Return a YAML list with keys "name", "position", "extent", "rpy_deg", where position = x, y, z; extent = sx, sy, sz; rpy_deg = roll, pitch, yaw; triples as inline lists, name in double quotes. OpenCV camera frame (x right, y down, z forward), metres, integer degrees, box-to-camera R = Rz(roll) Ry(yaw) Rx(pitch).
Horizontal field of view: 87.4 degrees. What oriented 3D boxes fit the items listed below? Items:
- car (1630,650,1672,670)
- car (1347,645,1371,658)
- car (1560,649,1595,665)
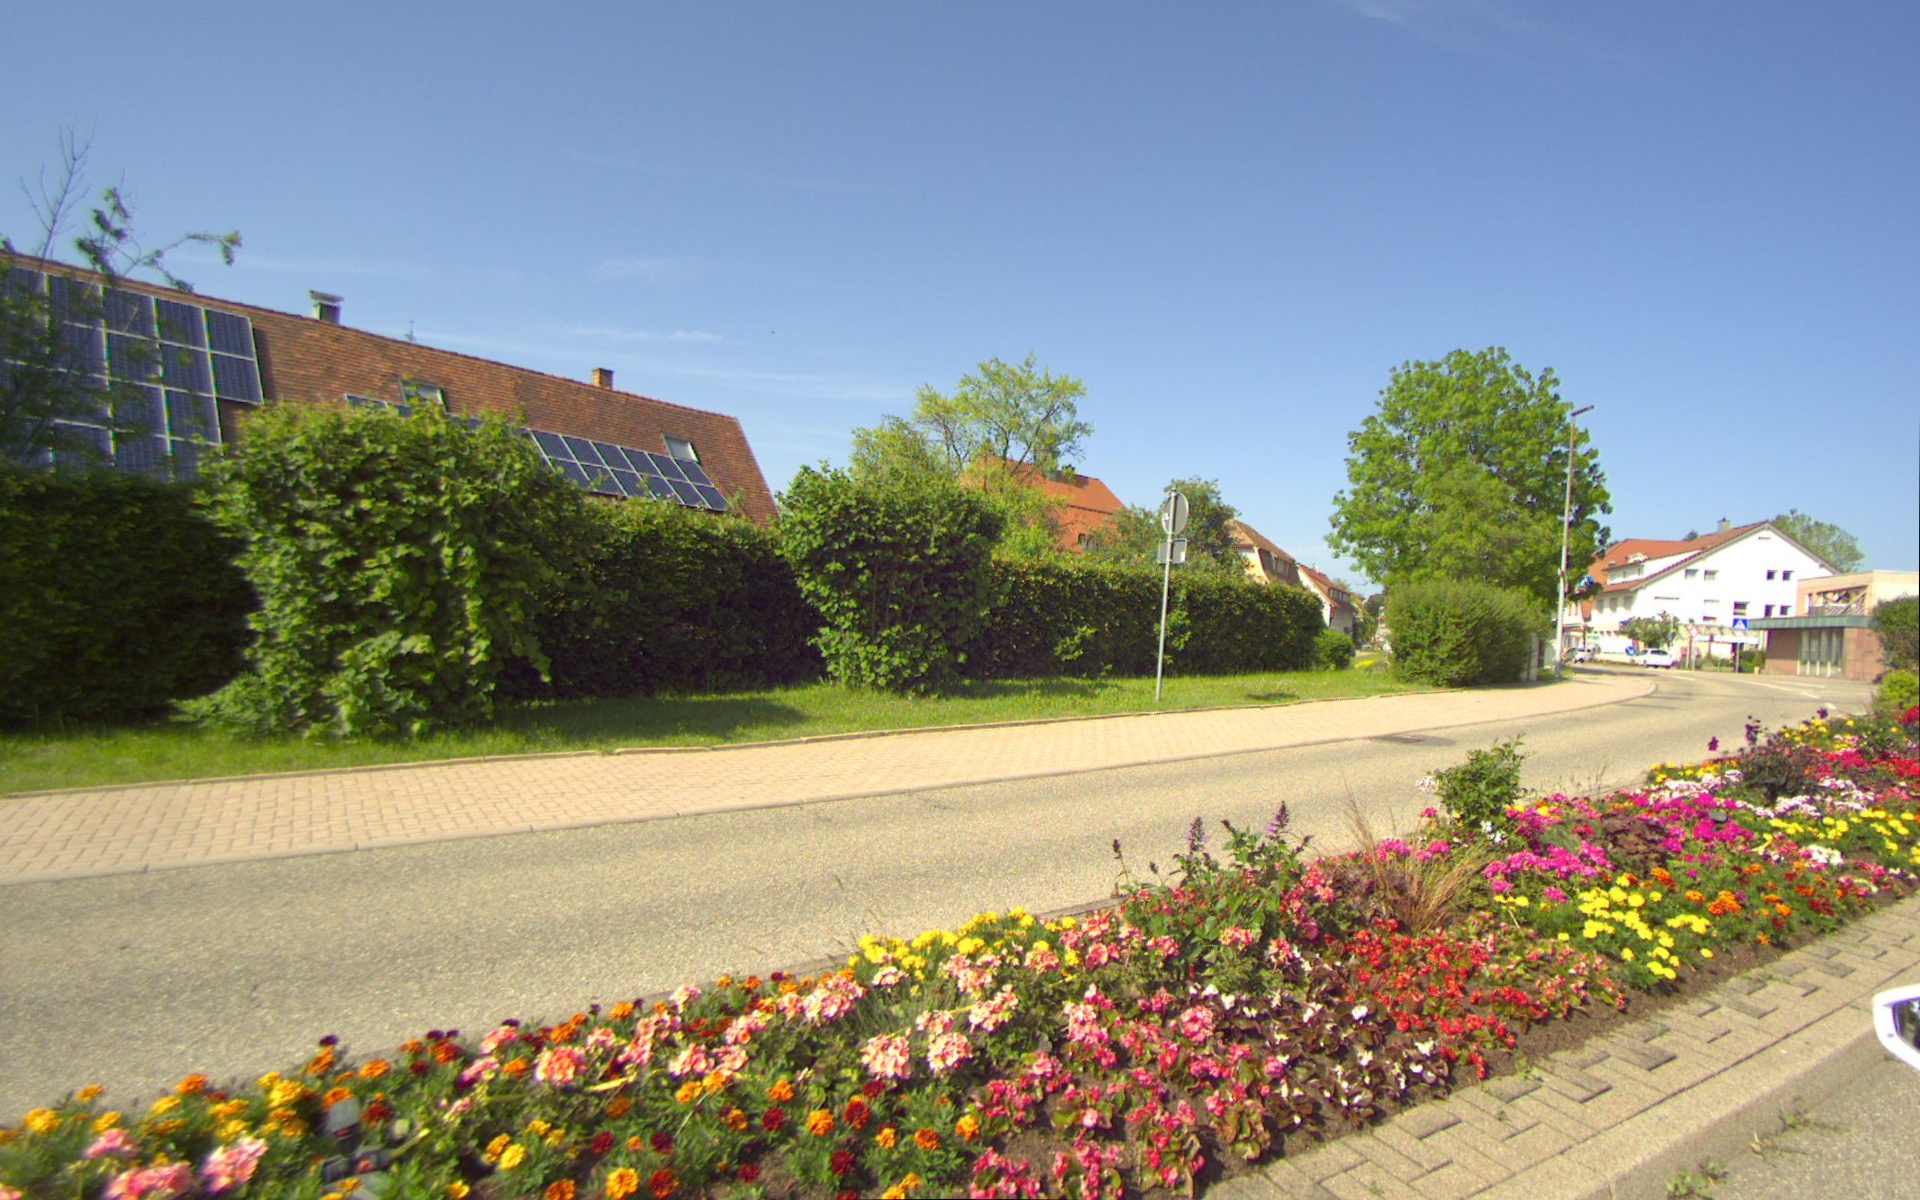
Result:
- name: "car"
  position: [52.226, 4.510, 75.988]
  extent: [1.731, 1.442, 3.634]
  rpy_deg: [1, -2, 20]
- name: "car"
  position: [41.664, 5.360, 104.859]
  extent: [1.696, 1.314, 3.991]
  rpy_deg: [0, -2, 32]
- name: "car"
  position: [57.724, 5.333, 93.963]
  extent: [1.607, 1.438, 3.938]
  rpy_deg: [1, -2, 14]
